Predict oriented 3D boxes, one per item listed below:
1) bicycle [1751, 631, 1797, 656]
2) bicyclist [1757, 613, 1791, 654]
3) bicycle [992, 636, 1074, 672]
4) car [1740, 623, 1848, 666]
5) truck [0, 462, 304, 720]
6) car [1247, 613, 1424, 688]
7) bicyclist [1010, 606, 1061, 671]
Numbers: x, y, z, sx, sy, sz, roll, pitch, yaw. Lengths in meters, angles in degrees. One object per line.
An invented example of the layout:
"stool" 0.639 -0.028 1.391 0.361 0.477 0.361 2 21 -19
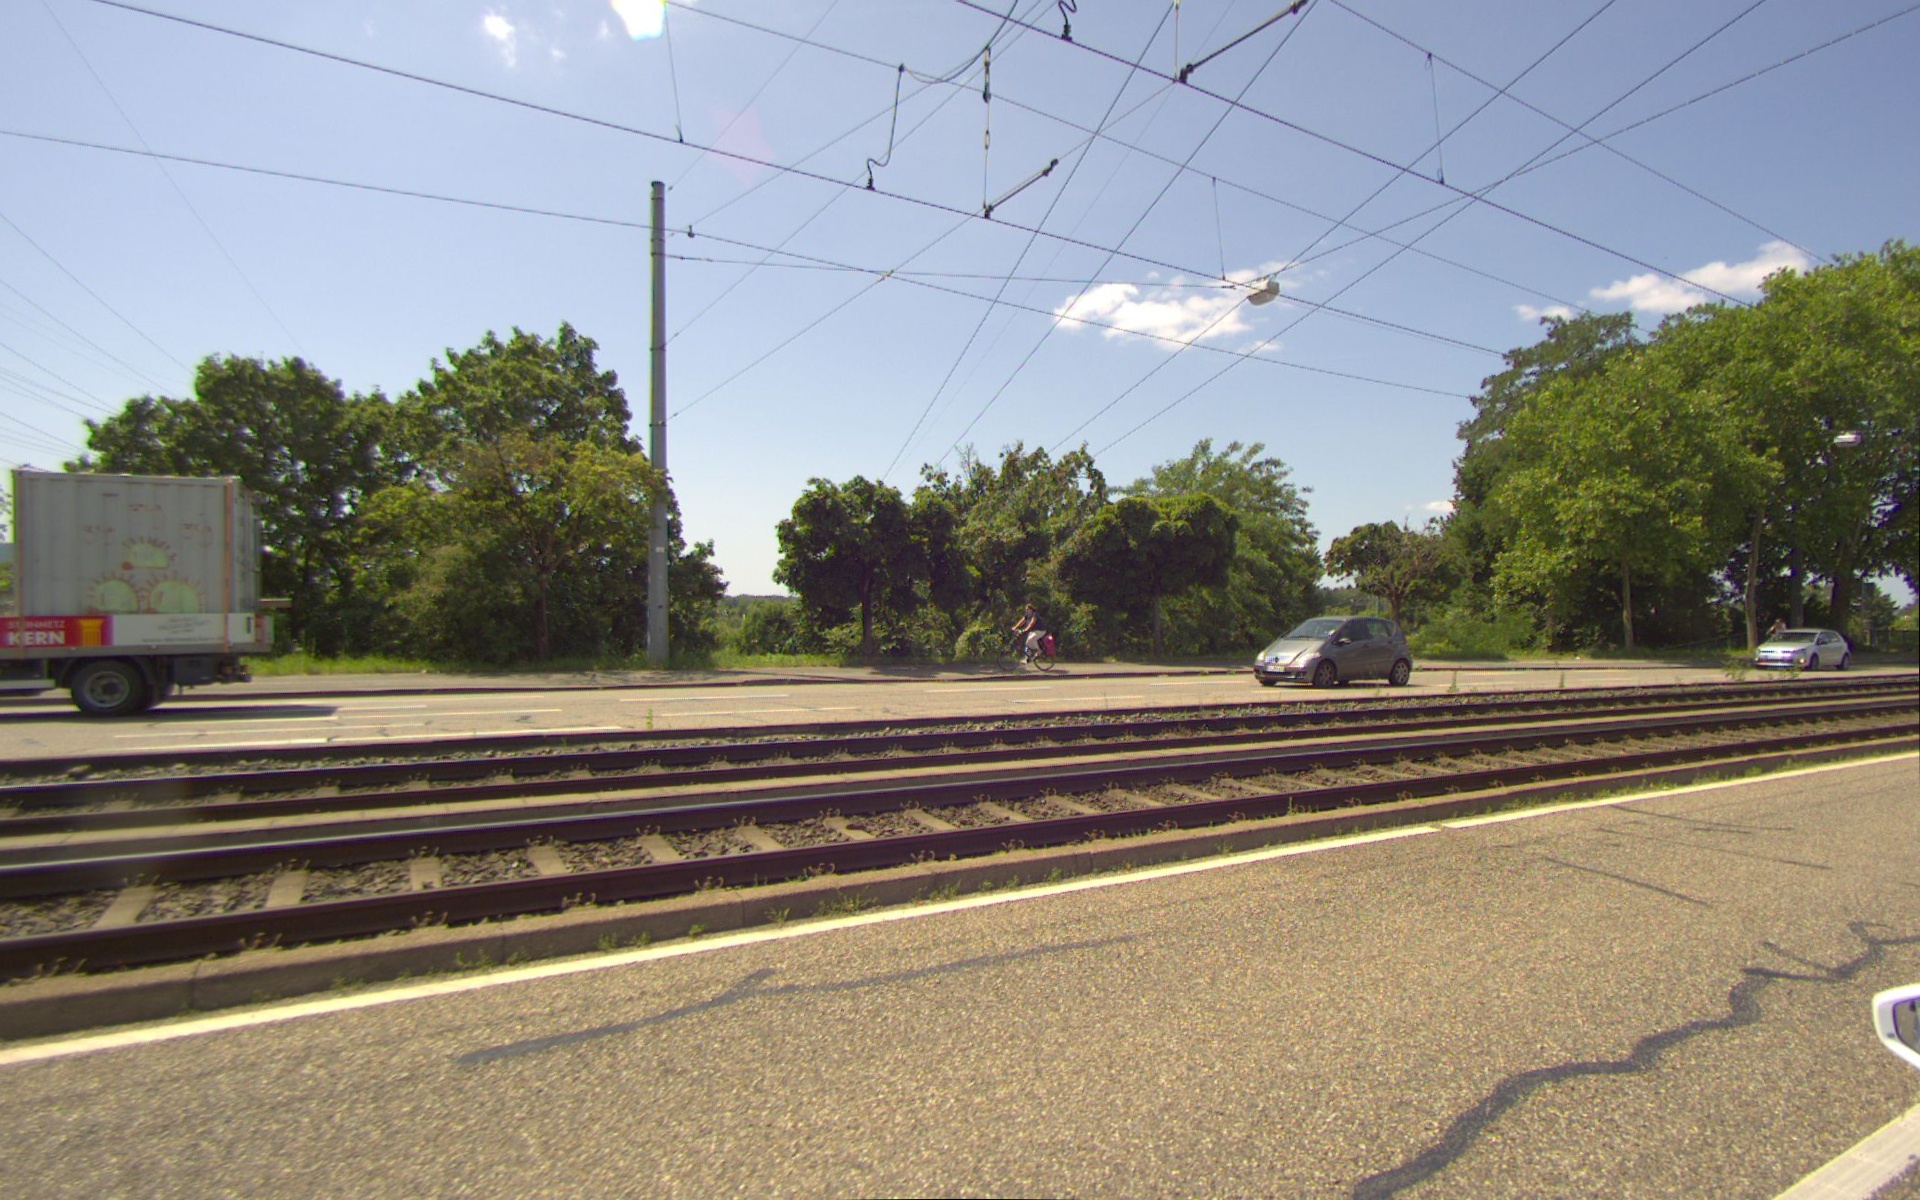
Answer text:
"bicycle" 33.737 1.817 41.640 2.026 0.993 0.621 1 2 -24
"bicyclist" 33.711 1.383 41.612 1.047 1.639 0.621 1 2 -24
"bicycle" 1.913 1.398 26.306 2.092 0.871 0.648 1 1 -27
"car" 29.478 1.558 35.476 4.078 1.440 1.629 1 -2 -30
"truck" -12.730 -0.107 13.821 5.968 3.279 2.240 1 -1 -29
"car" 8.520 1.107 22.728 3.912 1.555 1.743 1 -2 -31
"bicyclist" 1.972 1.001 26.320 1.140 1.642 0.648 1 1 -27
